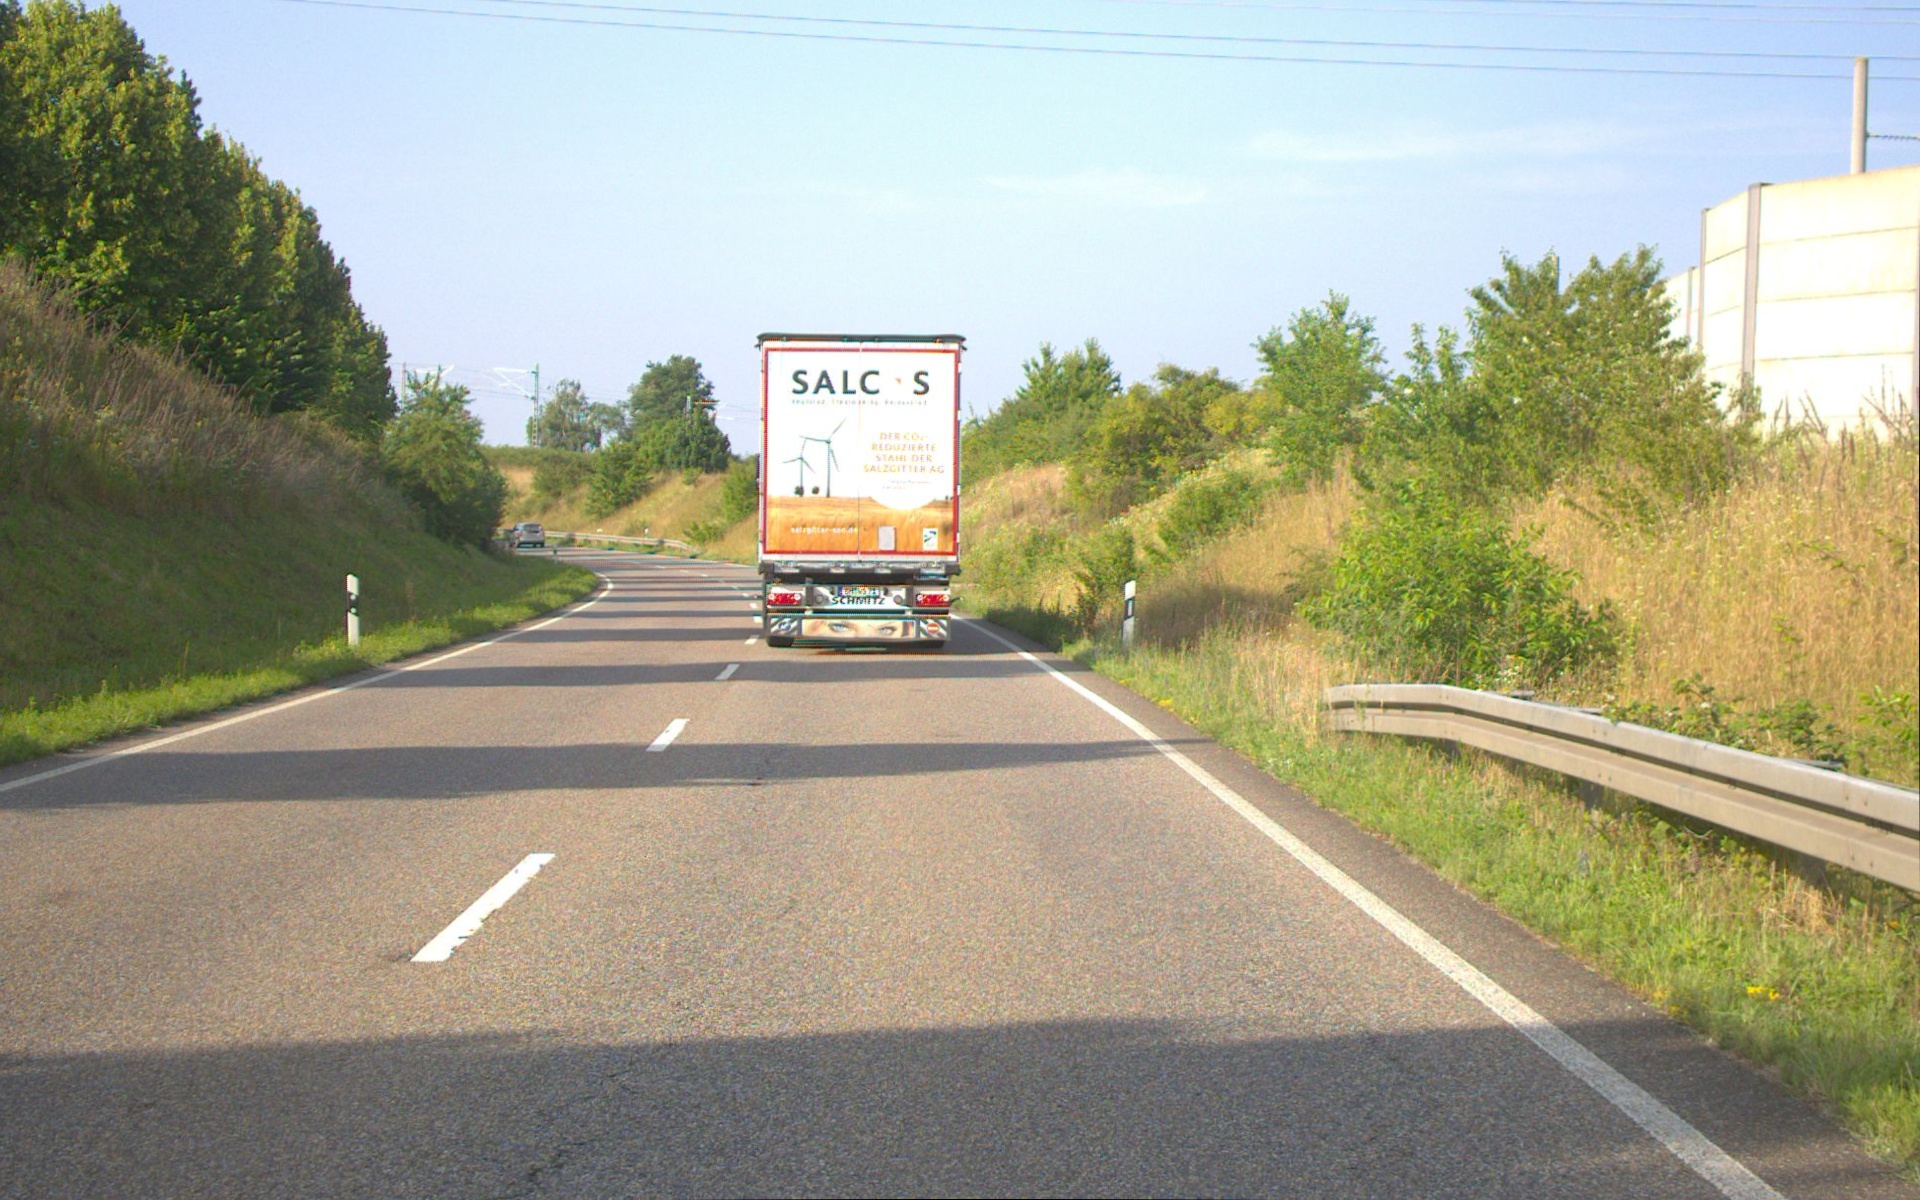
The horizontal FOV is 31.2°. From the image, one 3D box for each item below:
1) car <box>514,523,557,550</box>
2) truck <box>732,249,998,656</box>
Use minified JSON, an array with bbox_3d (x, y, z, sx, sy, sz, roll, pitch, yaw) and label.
[{"bbox_3d":[-25.805,-3.887,209.134,2.046,1.576,4.360,1,1,0],"label":"car"},{"bbox_3d":[-1.371,-2.025,49.182,3.290,5.072,12.039,1,2,-2],"label":"truck"}]
